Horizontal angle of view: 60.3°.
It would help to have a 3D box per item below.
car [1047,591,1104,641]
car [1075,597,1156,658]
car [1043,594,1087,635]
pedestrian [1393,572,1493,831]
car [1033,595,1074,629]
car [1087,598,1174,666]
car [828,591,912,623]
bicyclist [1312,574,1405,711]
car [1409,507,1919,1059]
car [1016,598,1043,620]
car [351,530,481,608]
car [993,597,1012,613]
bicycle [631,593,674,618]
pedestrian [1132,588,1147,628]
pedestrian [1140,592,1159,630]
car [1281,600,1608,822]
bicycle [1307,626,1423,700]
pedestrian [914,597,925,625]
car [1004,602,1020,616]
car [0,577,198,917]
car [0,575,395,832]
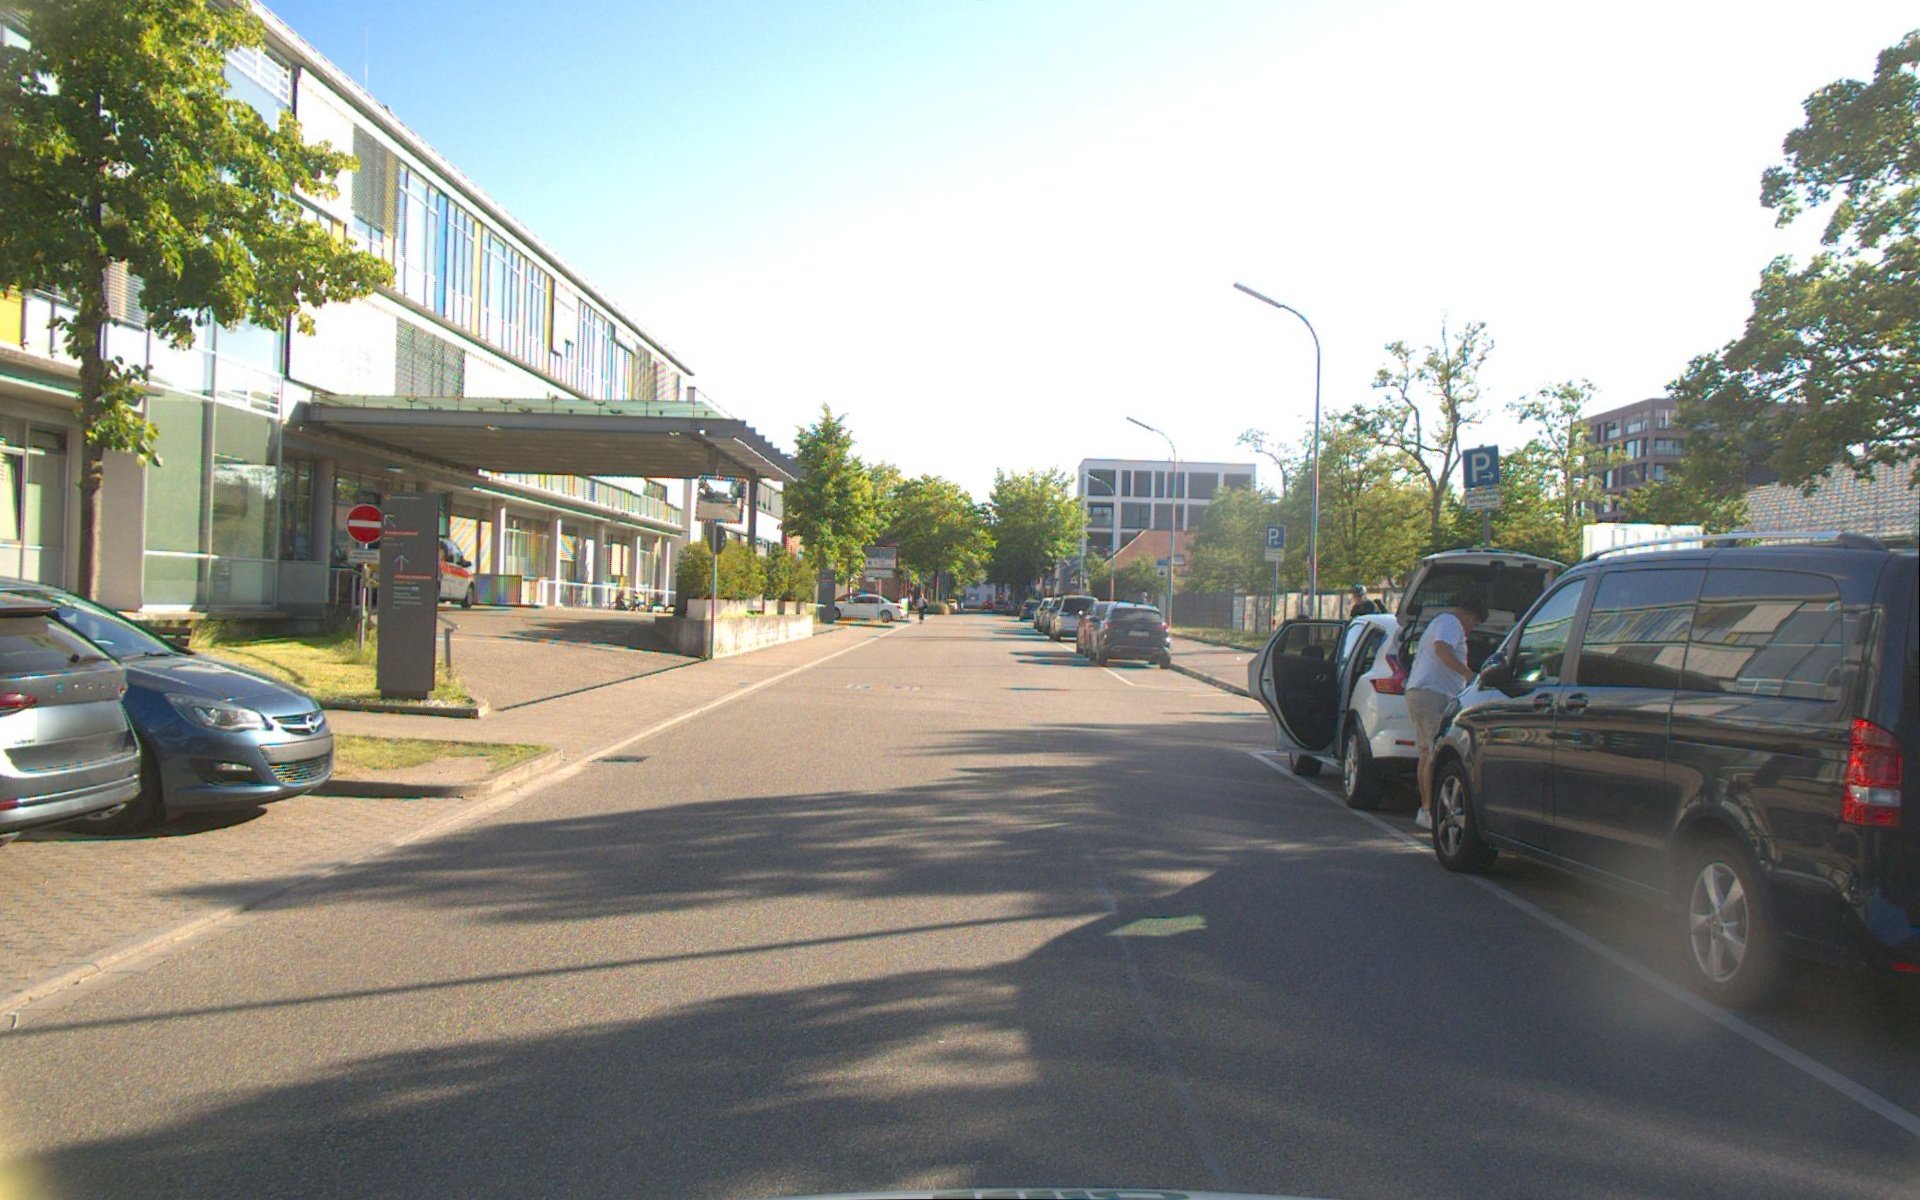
[{"bbox_3d":[4.400,0.576,63.675,1.772,1.752,4.704,3,0,0],"label":"car"},{"bbox_3d":[4.377,0.737,47.224,1.772,1.536,4.722,3,0,0],"label":"car"},{"bbox_3d":[4.602,0.621,72.884,1.666,1.634,4.353,3,0,1],"label":"car"},{"bbox_3d":[3.494,0.710,11.946,0.576,1.776,0.705,3,0,19],"label":"pedestrian"},{"bbox_3d":[4.849,0.587,86.459,1.776,1.616,4.261,3,0,-1],"label":"car"},{"bbox_3d":[4.215,0.766,41.441,1.666,1.513,4.215,3,0,0],"label":"car"},{"bbox_3d":[-4.851,0.375,88.951,4.424,1.391,1.698,4,0,-5],"label":"car"},{"bbox_3d":[6.145,0.635,25.519,1.040,2.049,0.948,-1,1,-34],"label":"bicyclist"},{"bbox_3d":[3.980,0.664,8.268,1.827,1.902,5.020,3,0,-3],"label":"car"},{"bbox_3d":[4.768,0.611,114.020,1.780,1.478,4.215,1,0,2],"label":"car"},{"bbox_3d":[-14.532,-0.800,44.496,1.880,1.924,4.711,1,0,0],"label":"car"},{"bbox_3d":[4.326,0.560,169.710,1.731,1.575,4.065,1,0,-1],"label":"car"},{"bbox_3d":[-13.064,0.242,70.311,1.680,1.011,0.536,1,0,-1],"label":"bicycle"},{"bbox_3d":[7.901,0.358,72.719,0.511,1.738,0.522,3,-1,-2],"label":"pedestrian"},{"bbox_3d":[8.256,0.473,72.087,0.667,1.639,0.540,3,-1,-2],"label":"pedestrian"},{"bbox_3d":[3.982,0.823,14.296,1.630,1.540,4.114,3,0,1],"label":"car"},{"bbox_3d":[6.287,0.958,25.625,1.863,1.026,0.693,-1,1,-35],"label":"bicycle"},{"bbox_3d":[-2.246,0.608,91.892,0.527,1.550,0.607,1,0,2],"label":"pedestrian"},{"bbox_3d":[6.392,1.102,204.437,1.910,1.606,3.837,2,0,1],"label":"car"},{"bbox_3d":[-6.076,0.573,8.010,3.907,1.463,1.730,2,0,-2],"label":"car"},{"bbox_3d":[-5.926,0.598,10.525,4.047,1.492,1.753,0,0,-1],"label":"car"}]
